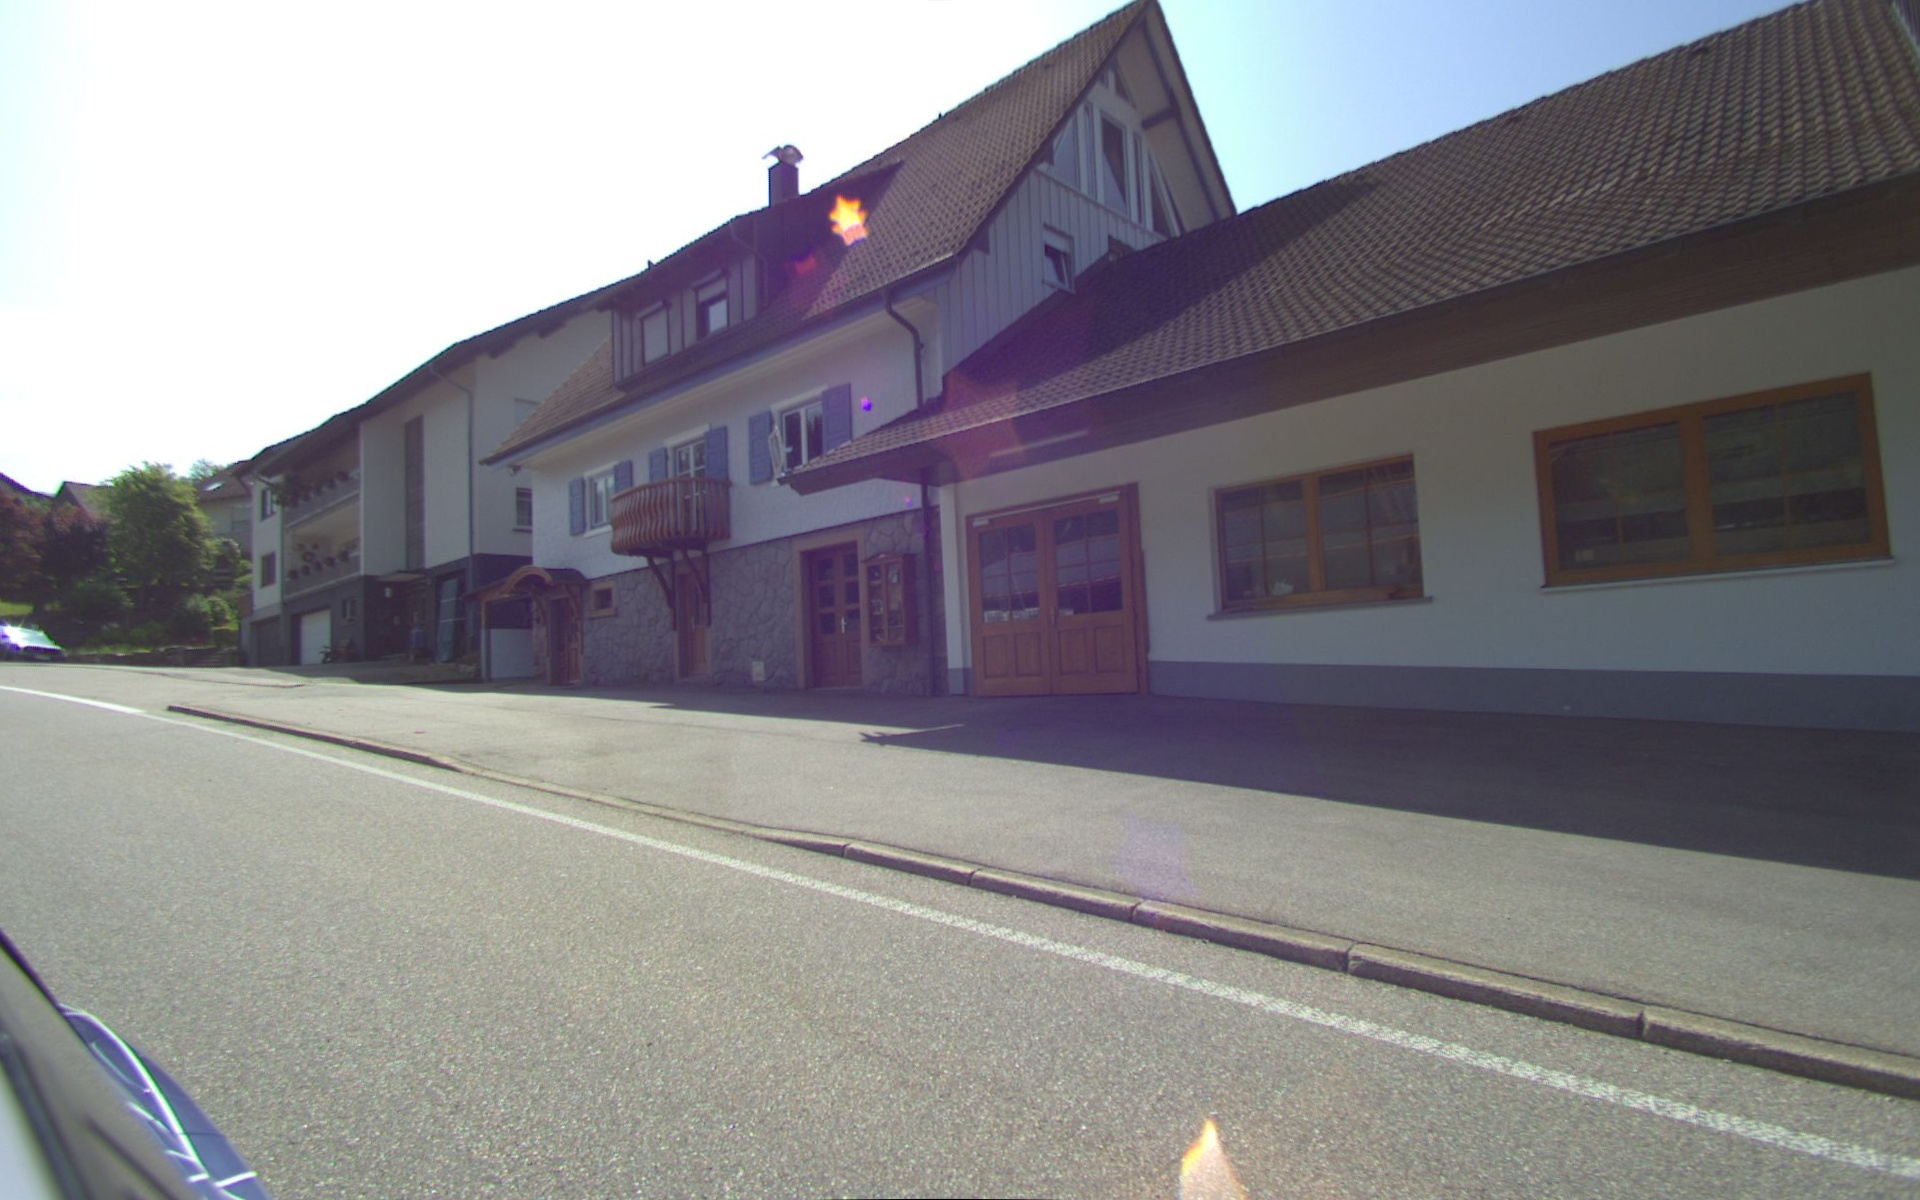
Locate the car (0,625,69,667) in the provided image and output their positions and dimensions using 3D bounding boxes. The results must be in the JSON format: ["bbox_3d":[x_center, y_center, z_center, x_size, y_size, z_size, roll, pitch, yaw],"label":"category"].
[{"bbox_3d":[-33.118,1.569,35.095,4.673,1.349,1.771,-1,-2,28],"label":"car"}]
